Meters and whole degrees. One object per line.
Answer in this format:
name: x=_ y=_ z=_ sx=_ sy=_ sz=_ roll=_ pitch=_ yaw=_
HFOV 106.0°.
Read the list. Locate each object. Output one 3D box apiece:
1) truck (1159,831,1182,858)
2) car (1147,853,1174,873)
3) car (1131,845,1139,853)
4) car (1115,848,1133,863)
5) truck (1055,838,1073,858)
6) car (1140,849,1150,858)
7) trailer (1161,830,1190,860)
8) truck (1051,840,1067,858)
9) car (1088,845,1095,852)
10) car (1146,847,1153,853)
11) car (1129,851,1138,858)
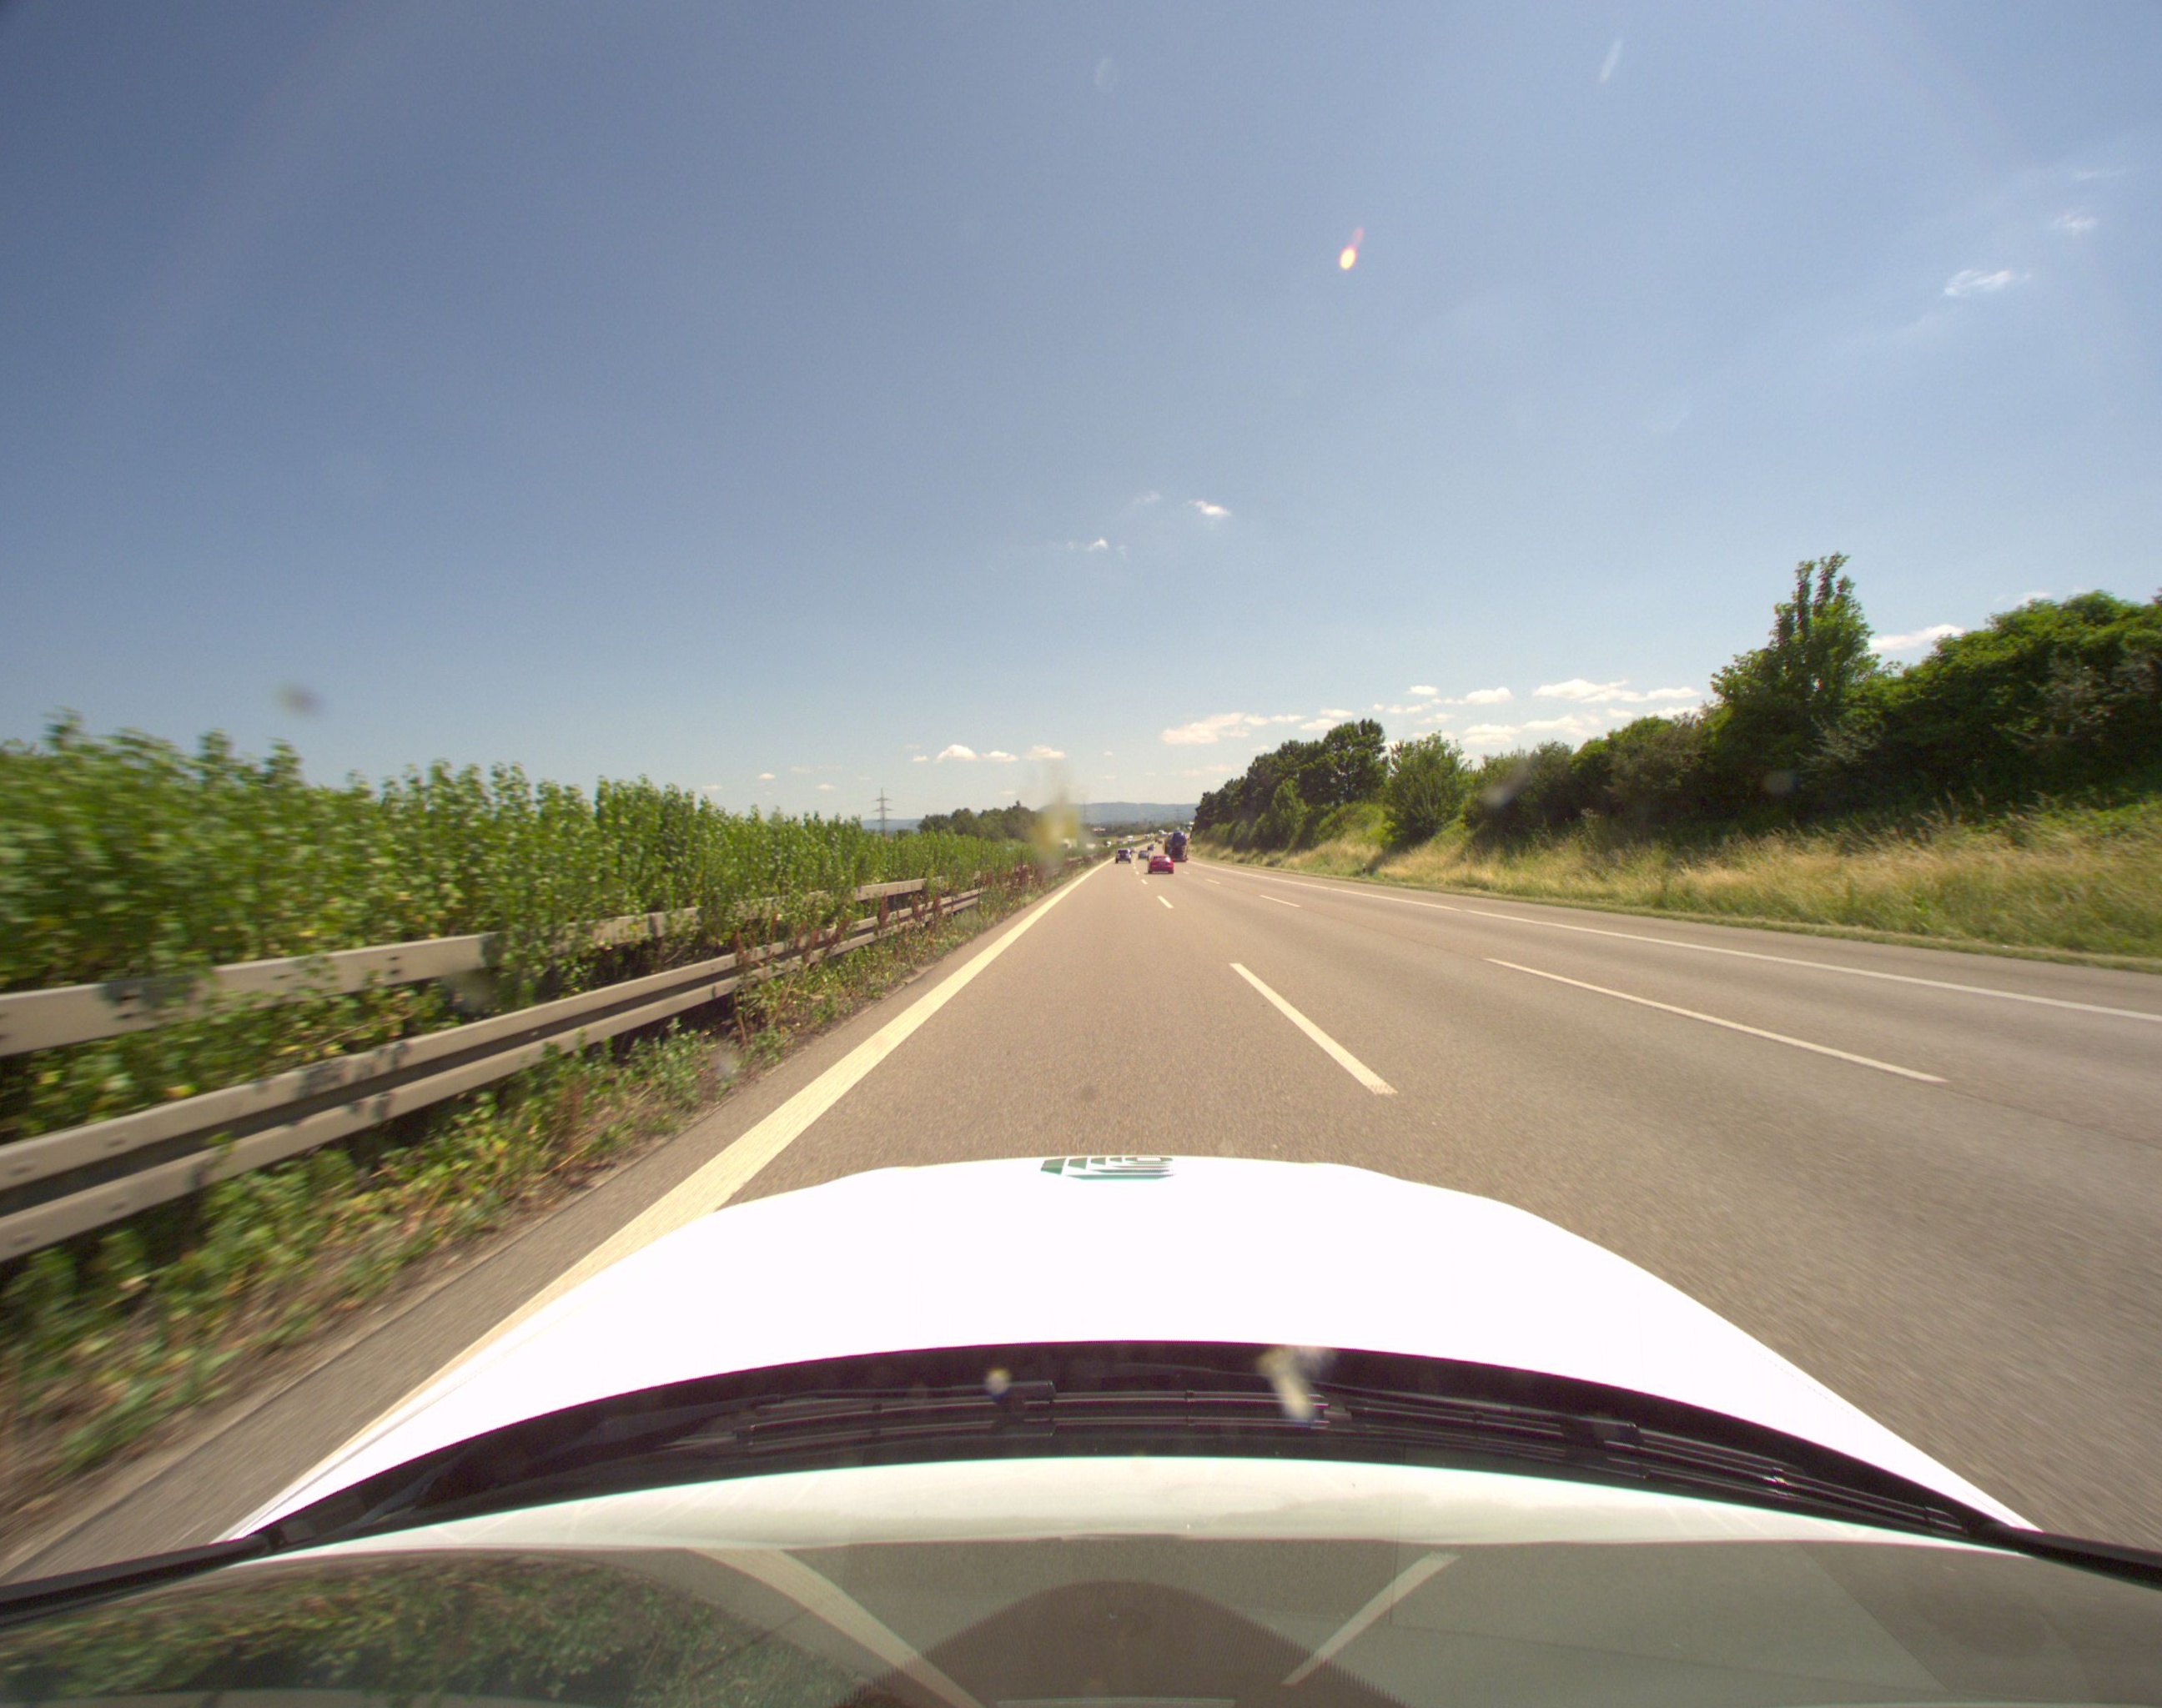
truck: x=13.289 y=-1.428 z=121.385 sx=2.744 sy=3.852 sz=6.647 roll=0 pitch=1 yaw=2
car: x=5.834 y=0.627 z=60.324 sx=1.680 sy=1.378 sz=3.949 roll=0 pitch=1 yaw=1
car: x=13.367 y=-1.309 z=202.337 sx=1.688 sy=2.013 sz=3.832 roll=0 pitch=1 yaw=9
car: x=5.396 y=0.165 z=103.611 sx=2.077 sy=1.829 sz=4.753 roll=0 pitch=1 yaw=0
truck: x=-3.424 y=-1.272 z=167.381 sx=3.161 sy=4.109 sz=5.234 roll=0 pitch=1 yaw=5
car: x=10.290 y=-0.103 z=130.849 sx=1.447 sy=1.267 sz=3.541 roll=0 pitch=1 yaw=2
trailer: x=12.998 y=-1.309 z=113.743 sx=2.844 sy=3.993 sz=15.406 roll=0 pitch=1 yaw=2
truck: x=-5.142 y=-1.093 z=187.709 sx=2.996 sy=4.109 sz=5.629 roll=0 pitch=1 yaw=5
car: x=2.904 y=-1.617 z=227.662 sx=1.787 sy=2.013 sz=4.002 roll=0 pitch=1 yaw=2
car: x=19.162 y=-1.087 z=228.620 sx=1.626 sy=1.704 sz=3.410 roll=0 pitch=1 yaw=9
car: x=10.064 y=0.179 z=155.603 sx=1.448 sy=1.267 sz=3.344 roll=0 pitch=1 yaw=7
